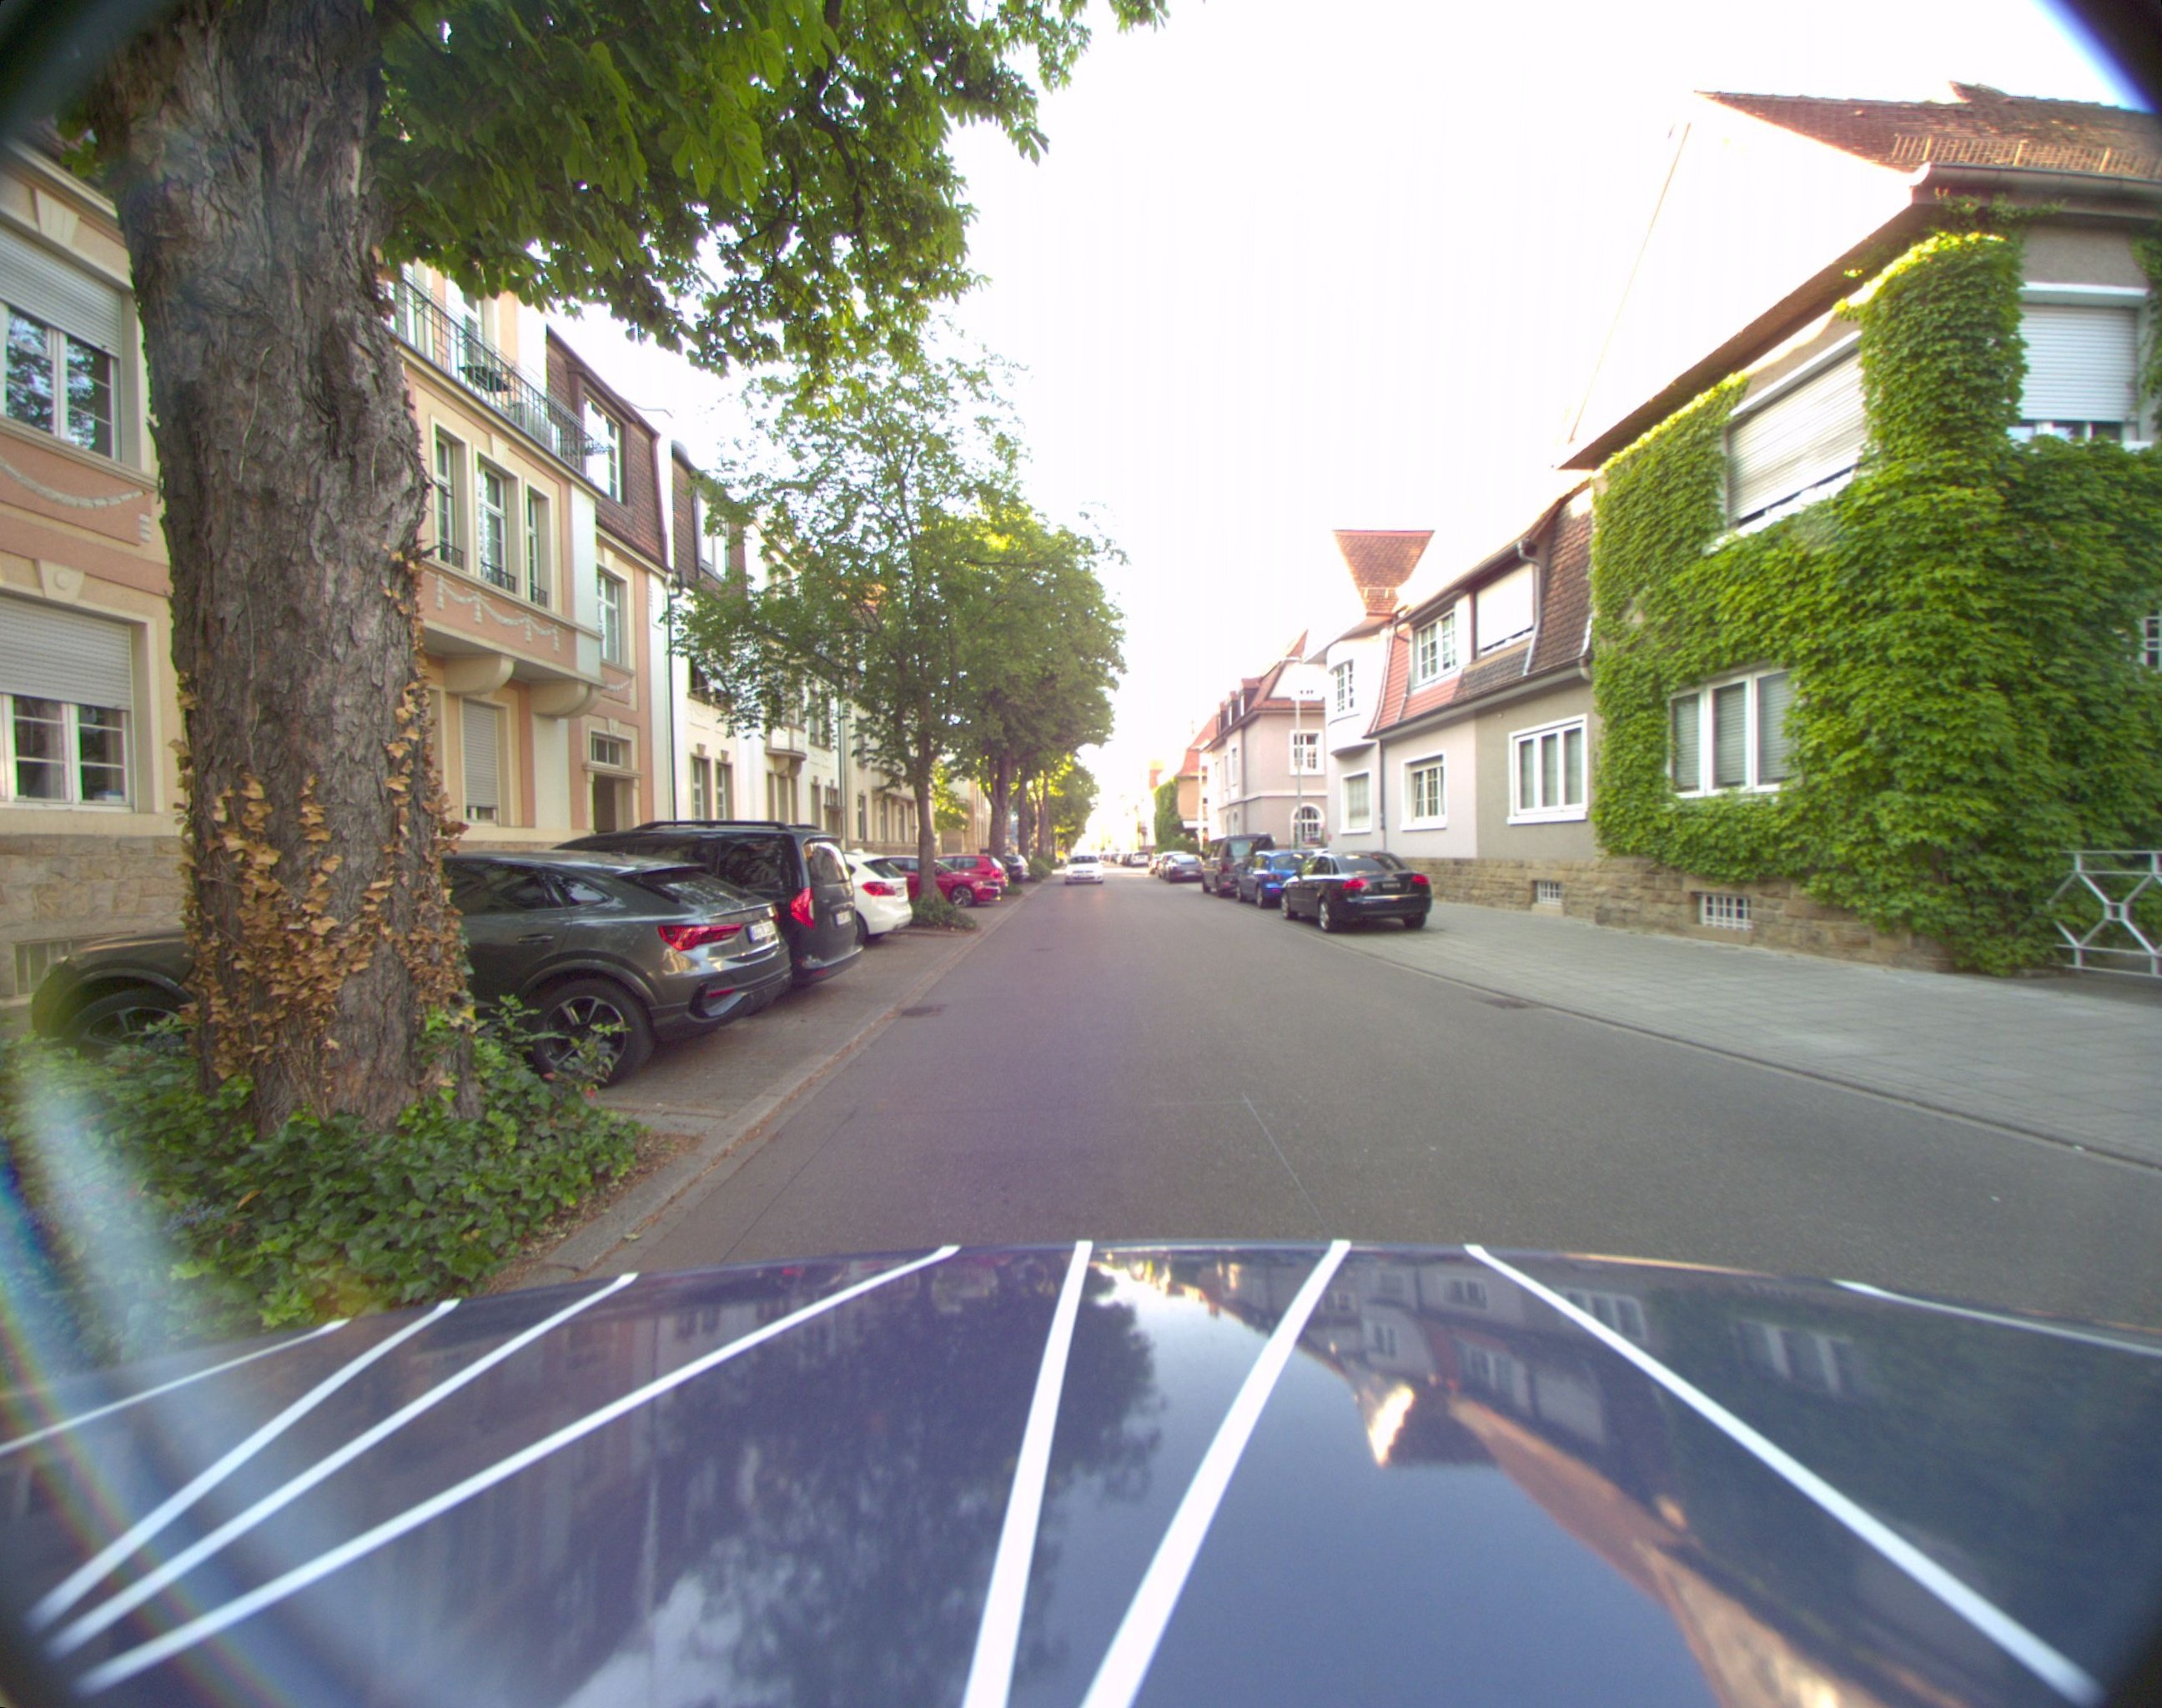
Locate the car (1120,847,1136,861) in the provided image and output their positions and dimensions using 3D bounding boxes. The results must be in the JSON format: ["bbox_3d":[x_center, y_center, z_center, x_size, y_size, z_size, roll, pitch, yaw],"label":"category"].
[{"bbox_3d":[5.577,-0.038,91.004,1.699,1.520,3.677,-3,1,2],"label":"car"}]

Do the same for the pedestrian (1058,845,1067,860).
[{"bbox_3d":[-2.390,-0.202,98.249,1.119,1.927,1.097,-3,1,-1],"label":"pedestrian"}]

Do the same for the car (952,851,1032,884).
[{"bbox_3d":[-4.274,0.622,36.836,3.680,1.548,1.576,0,1,2],"label":"car"}]

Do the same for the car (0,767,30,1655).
[{"bbox_3d":[-4.590,0.764,0.517,4.763,1.864,1.896,0,1,-4],"label":"car"}]

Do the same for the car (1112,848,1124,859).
[{"bbox_3d":[5.567,-0.112,115.858,1.699,1.520,3.677,-3,1,2],"label":"car"}]

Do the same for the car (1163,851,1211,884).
[{"bbox_3d":[5.068,0.598,36.662,1.932,1.376,4.063,-3,1,4],"label":"car"}]

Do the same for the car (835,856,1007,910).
[{"bbox_3d":[-4.528,0.796,21.934,4.530,1.443,1.868,0,1,3],"label":"car"}]

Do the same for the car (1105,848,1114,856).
[{"bbox_3d":[5.593,-0.459,149.115,1.699,1.520,3.677,-3,1,2],"label":"car"}]

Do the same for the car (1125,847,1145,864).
[{"bbox_3d":[5.347,0.125,75.267,1.699,1.520,3.677,-3,1,2],"label":"car"}]

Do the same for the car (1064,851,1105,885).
[{"bbox_3d":[0.198,0.626,36.668,1.819,1.454,4.072,-2,0,1],"label":"car"}]

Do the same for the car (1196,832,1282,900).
[{"bbox_3d":[5.151,0.356,25.349,1.842,1.964,4.612,-3,1,1],"label":"car"}]

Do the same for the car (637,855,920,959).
[{"bbox_3d":[-4.826,0.812,12.528,3.950,1.568,1.719,0,1,0],"label":"car"}]

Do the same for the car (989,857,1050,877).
[{"bbox_3d":[-3.557,0.730,44.432,3.399,1.143,1.542,0,1,2],"label":"car"}]

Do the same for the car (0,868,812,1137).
[{"bbox_3d":[-4.535,0.895,5.503,4.522,1.514,1.844,0,1,-4],"label":"car"}]

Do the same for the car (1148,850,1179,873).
[{"bbox_3d":[5.448,0.477,50.379,1.662,1.354,3.677,-3,1,2],"label":"car"}]

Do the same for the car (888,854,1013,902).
[{"bbox_3d":[-4.133,0.748,24.462,3.680,1.473,1.659,0,1,3],"label":"car"}]

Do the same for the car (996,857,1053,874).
[{"bbox_3d":[-3.507,0.724,47.638,3.399,1.057,1.542,0,1,2],"label":"car"}]

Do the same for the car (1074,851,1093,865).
[{"bbox_3d":[0.291,0.406,80.447,1.819,1.454,4.072,-2,0,1],"label":"car"}]

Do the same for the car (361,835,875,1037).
[{"bbox_3d":[-4.432,0.733,7.828,4.121,1.827,1.844,0,1,-2],"label":"car"}]

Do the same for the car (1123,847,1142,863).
[{"bbox_3d":[5.448,0.068,80.758,1.699,1.520,3.677,-3,1,2],"label":"car"}]

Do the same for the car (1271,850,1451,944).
[{"bbox_3d":[5.137,0.699,14.643,1.806,1.438,4.428,-3,0,1],"label":"car"}]

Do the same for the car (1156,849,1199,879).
[{"bbox_3d":[5.291,0.509,42.139,1.932,1.458,4.062,-3,1,2],"label":"car"}]

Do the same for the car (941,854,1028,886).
[{"bbox_3d":[-4.307,0.712,34.316,3.680,1.390,1.576,0,1,2],"label":"car"}]

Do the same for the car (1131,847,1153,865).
[{"bbox_3d":[5.432,0.157,68.002,1.699,1.558,3.677,-3,1,2],"label":"car"}]

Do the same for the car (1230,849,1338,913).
[{"bbox_3d":[5.286,0.647,20.338,1.768,1.438,4.062,-3,1,0],"label":"car"}]

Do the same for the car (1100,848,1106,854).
[{"bbox_3d":[5.873,-0.926,202.665,1.699,1.520,3.677,-3,1,2],"label":"car"}]

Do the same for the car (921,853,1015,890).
[{"bbox_3d":[-4.671,0.708,31.706,3.680,1.457,1.576,0,1,2],"label":"car"}]
